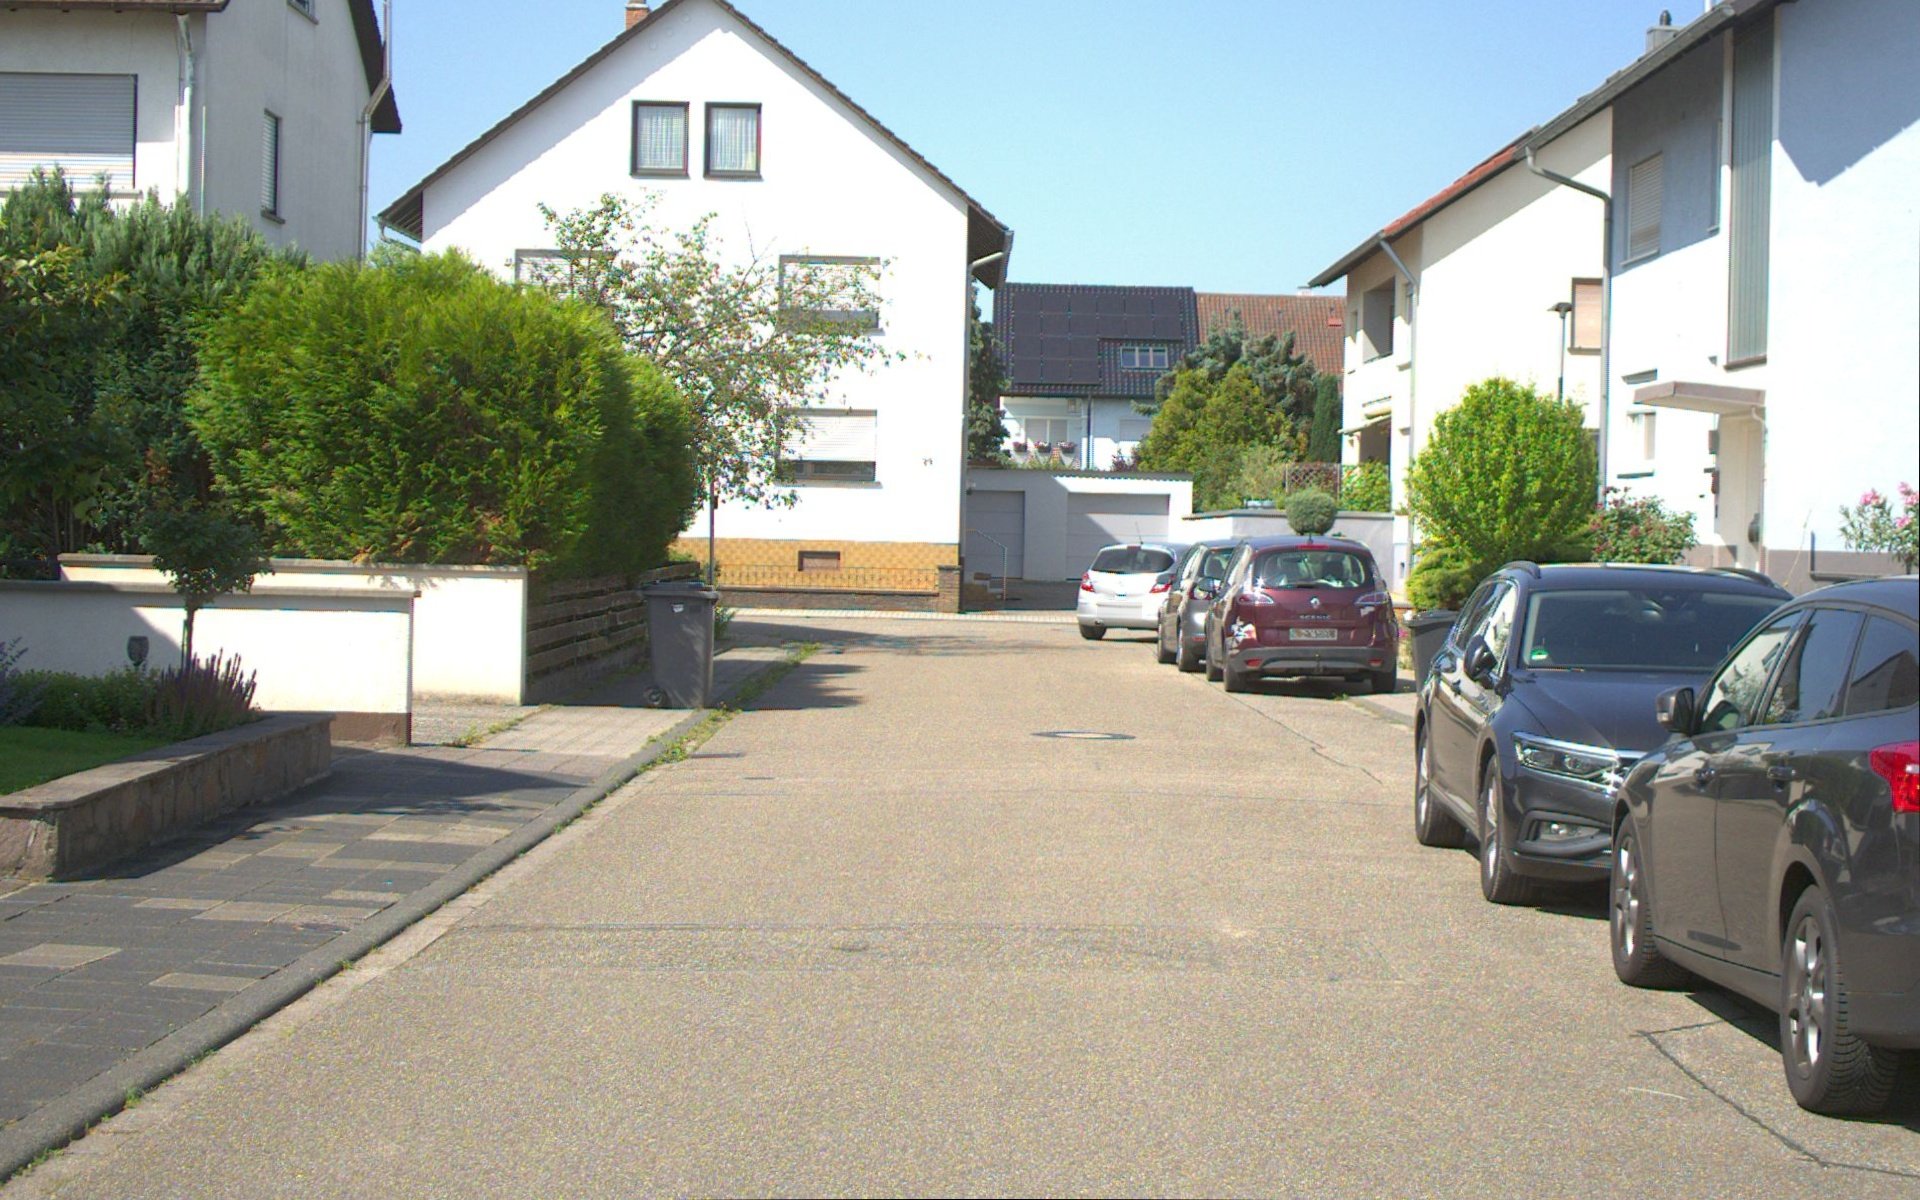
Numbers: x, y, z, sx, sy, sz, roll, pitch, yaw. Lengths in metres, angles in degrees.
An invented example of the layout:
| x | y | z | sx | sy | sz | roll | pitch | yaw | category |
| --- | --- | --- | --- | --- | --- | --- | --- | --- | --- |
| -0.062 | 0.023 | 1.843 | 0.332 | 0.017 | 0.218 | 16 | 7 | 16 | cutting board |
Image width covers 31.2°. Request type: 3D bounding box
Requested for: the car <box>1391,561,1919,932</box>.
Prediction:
| x | y | z | sx | sy | sz | roll | pitch | yaw | category |
| --- | --- | --- | --- | --- | --- | --- | --- | --- | --- |
| 3.101 | 0.565 | 16.152 | 1.717 | 1.433 | 4.503 | 1 | 1 | 2 | car |

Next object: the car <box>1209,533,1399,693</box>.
| x | y | z | sx | sy | sz | roll | pitch | yaw | category |
| --- | --- | --- | --- | --- | --- | --- | --- | --- | --- |
| 3.627 | 0.093 | 36.842 | 1.645 | 1.576 | 4.147 | 1 | 1 | 1 | car |

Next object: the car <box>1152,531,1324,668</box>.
| x | y | z | sx | sy | sz | roll | pitch | yaw | category |
| --- | --- | --- | --- | --- | --- | --- | --- | --- | --- |
| 3.333 | -0.048 | 41.843 | 1.645 | 1.540 | 4.048 | 1 | 1 | -1 | car |

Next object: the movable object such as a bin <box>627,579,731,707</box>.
| x | y | z | sx | sy | sz | roll | pitch | yaw | category |
| --- | --- | --- | --- | --- | --- | --- | --- | --- | --- |
| -2.385 | 0.361 | 29.251 | 0.818 | 1.060 | 0.611 | 1 | 1 | 0 | movable object such as a bin |

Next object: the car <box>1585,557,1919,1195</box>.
| x | y | z | sx | sy | sz | roll | pitch | yaw | category |
| --- | --- | --- | --- | --- | --- | --- | --- | --- | --- |
| 3.106 | 0.685 | 10.325 | 1.642 | 1.473 | 4.000 | 3 | 2 | 0 | car |

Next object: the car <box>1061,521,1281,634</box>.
| x | y | z | sx | sy | sz | roll | pitch | yaw | category |
| --- | --- | --- | --- | --- | --- | --- | --- | --- | --- |
| 3.197 | -0.334 | 51.481 | 1.648 | 1.576 | 3.802 | 3 | 1 | 32 | car |
